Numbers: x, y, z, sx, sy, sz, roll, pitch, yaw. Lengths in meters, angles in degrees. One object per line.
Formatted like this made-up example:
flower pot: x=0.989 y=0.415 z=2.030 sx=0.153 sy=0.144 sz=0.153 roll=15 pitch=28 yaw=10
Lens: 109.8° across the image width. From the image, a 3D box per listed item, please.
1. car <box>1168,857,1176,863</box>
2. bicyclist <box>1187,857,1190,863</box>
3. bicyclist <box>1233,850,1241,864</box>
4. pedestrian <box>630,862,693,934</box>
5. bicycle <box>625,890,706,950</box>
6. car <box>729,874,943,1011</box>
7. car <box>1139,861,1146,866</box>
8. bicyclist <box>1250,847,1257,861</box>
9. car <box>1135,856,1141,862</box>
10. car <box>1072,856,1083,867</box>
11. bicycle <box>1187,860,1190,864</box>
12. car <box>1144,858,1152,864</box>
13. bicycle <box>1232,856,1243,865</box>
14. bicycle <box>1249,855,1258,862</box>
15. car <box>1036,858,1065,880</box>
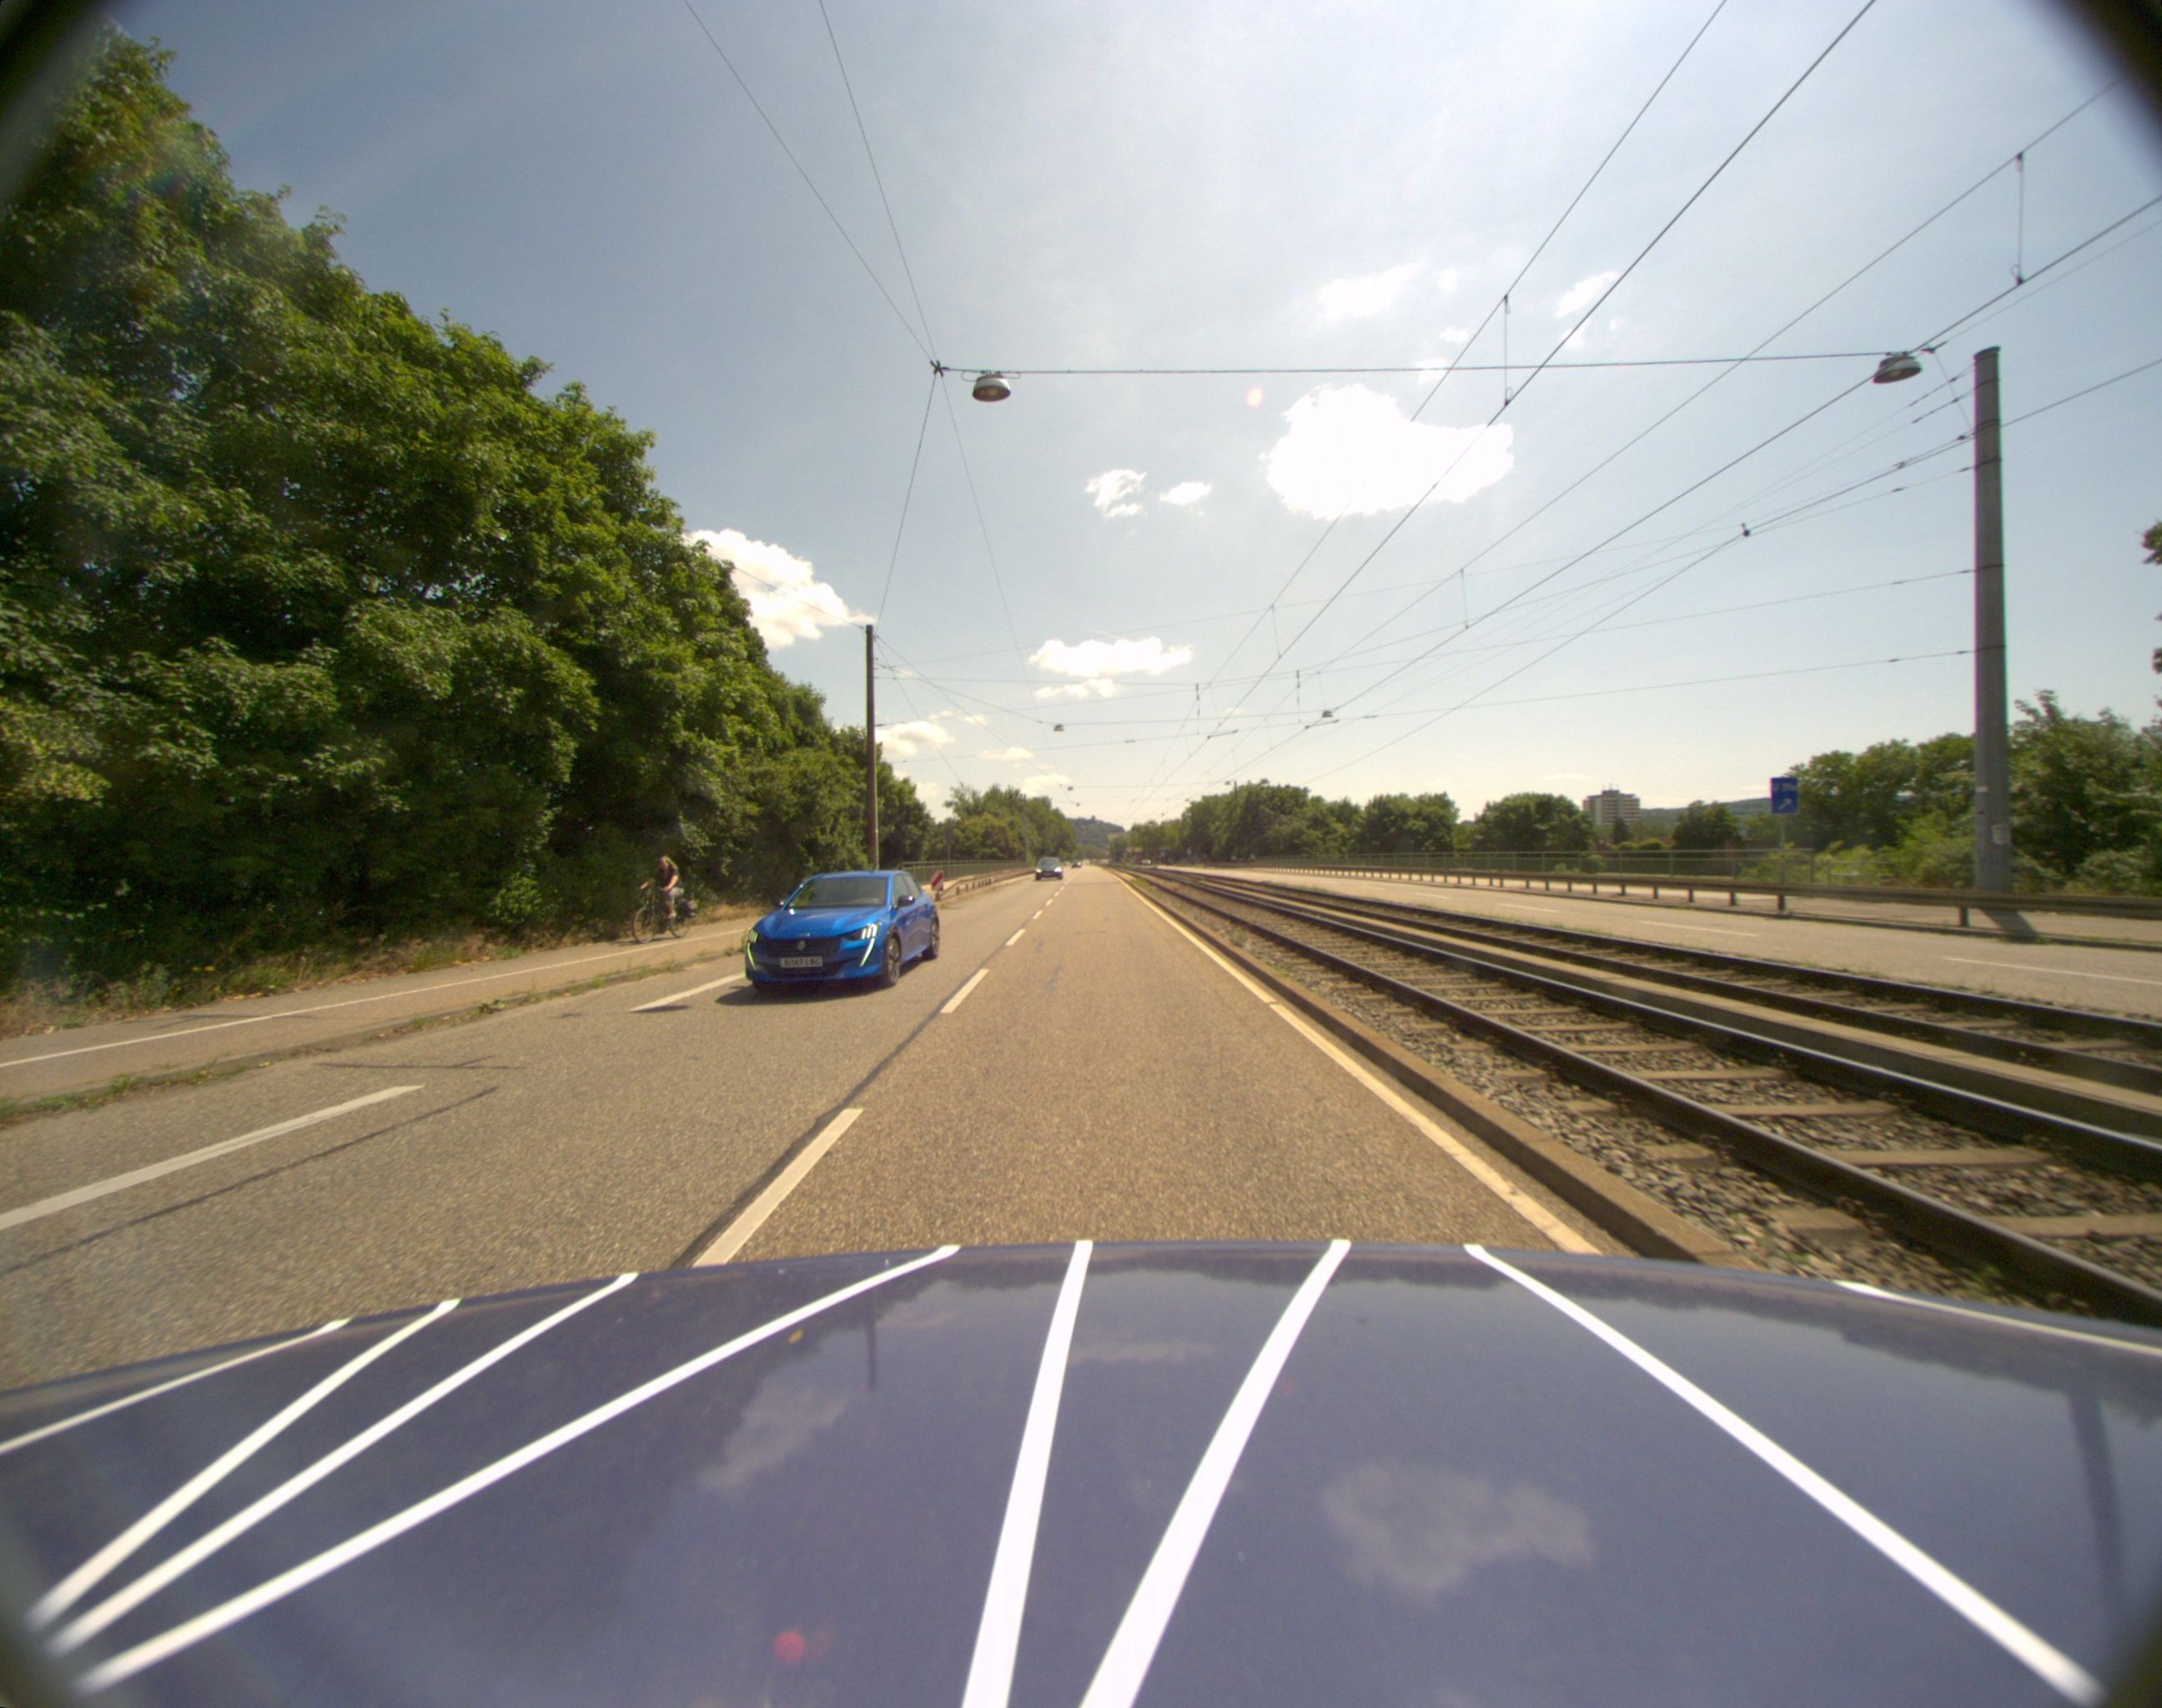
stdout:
car: x=22.139 y=1.452 z=185.281 sx=1.567 sy=1.339 sz=3.929 roll=0 pitch=0 yaw=1
bicyclist: x=27.491 y=1.521 z=194.494 sx=0.570 sy=1.360 sz=0.631 roll=-3 pitch=1 yaw=6
bicyclist: x=19.780 y=0.377 z=96.212 sx=0.765 sy=1.612 sz=0.838 roll=-2 pitch=1 yaw=1
pedestrian: x=-8.337 y=0.856 z=15.134 sx=0.629 sy=1.366 sz=1.050 roll=-1 pitch=1 yaw=1
bicycle: x=-8.249 y=1.291 z=15.175 sx=0.561 sy=1.018 sz=1.848 roll=-1 pitch=1 yaw=1
car: x=-3.130 y=1.056 z=10.517 sx=1.660 sy=1.397 sz=3.744 roll=-2 pitch=0 yaw=1
car: x=18.084 y=2.673 z=223.260 sx=1.578 sy=1.392 sz=3.938 roll=-1 pitch=0 yaw=1
bicyclist: x=19.188 y=0.004 z=84.528 sx=0.522 sy=1.488 sz=0.530 roll=-2 pitch=0 yaw=0
car: x=19.474 y=1.598 z=258.614 sx=1.816 sy=1.914 sz=5.179 roll=0 pitch=0 yaw=1
car: x=-0.744 y=1.455 z=149.797 sx=1.998 sy=2.002 sz=4.000 roll=-2 pitch=0 yaw=0
bicycle: x=27.509 y=1.999 z=194.503 sx=0.587 sy=0.814 sz=2.069 roll=-3 pitch=1 yaw=6
car: x=16.505 y=1.729 z=186.469 sx=1.715 sy=1.412 sz=4.624 roll=0 pitch=0 yaw=1
bicycle: x=19.801 y=0.819 z=96.108 sx=0.859 sy=1.178 sz=2.062 roll=-2 pitch=0 yaw=0
bicycle: x=19.207 y=0.499 z=84.504 sx=0.524 sy=0.838 sz=2.036 roll=-3 pitch=0 yaw=-1
car: x=-2.084 y=0.988 z=52.553 sx=1.769 sy=1.359 sz=3.744 roll=-2 pitch=0 yaw=0
